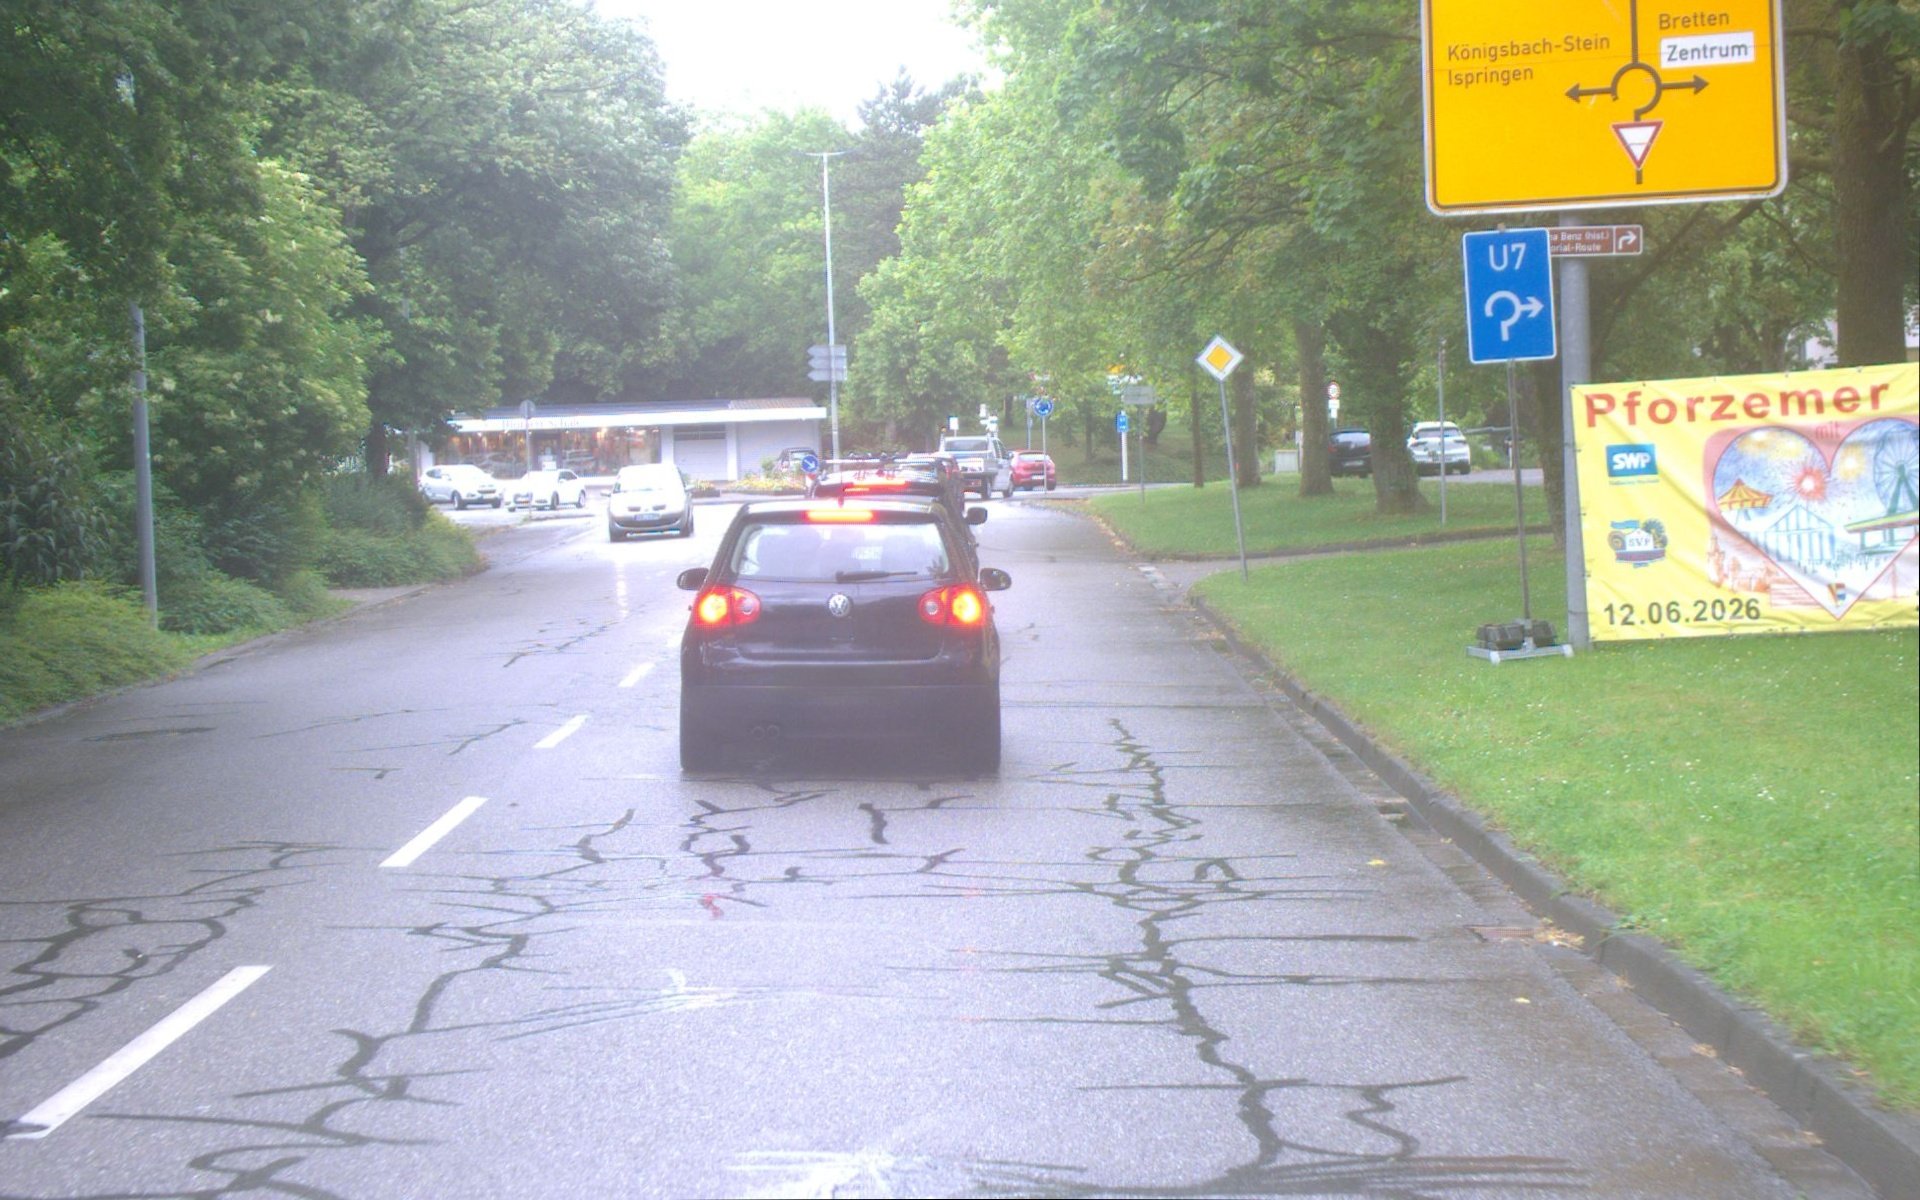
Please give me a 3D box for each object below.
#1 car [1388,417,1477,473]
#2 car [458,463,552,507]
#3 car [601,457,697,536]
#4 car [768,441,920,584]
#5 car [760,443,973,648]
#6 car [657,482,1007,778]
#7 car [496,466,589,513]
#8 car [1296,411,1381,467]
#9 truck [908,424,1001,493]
[{"bbox_3d":[13.034,-4.289,95.039,1.803,1.401,4.001,-4,3,0],"label":"car"},{"bbox_3d":[-17.196,-4.359,130.082,1.774,1.612,3.799,0,3,25],"label":"car"},{"bbox_3d":[-6.836,-2.303,75.911,1.763,1.608,4.142,-3,2,-1],"label":"car"},{"bbox_3d":[-1.516,-1.196,46.104,1.855,1.778,4.001,-2,2,0],"label":"car"},{"bbox_3d":[-0.843,-0.571,32.836,1.855,1.778,4.001,-2,2,0],"label":"car"},{"bbox_3d":[-0.667,0.094,19.636,1.798,1.510,3.754,1,2,0],"label":"car"},{"bbox_3d":[-14.654,-3.897,120.758,1.609,1.422,4.005,-1,4,19],"label":"car"},{"bbox_3d":[10.445,-4.456,95.006,1.803,1.380,4.001,-4,3,0],"label":"car"},{"bbox_3d":[-0.130,-4.358,106.039,2.417,1.997,5.150,-2,2,4],"label":"truck"}]
